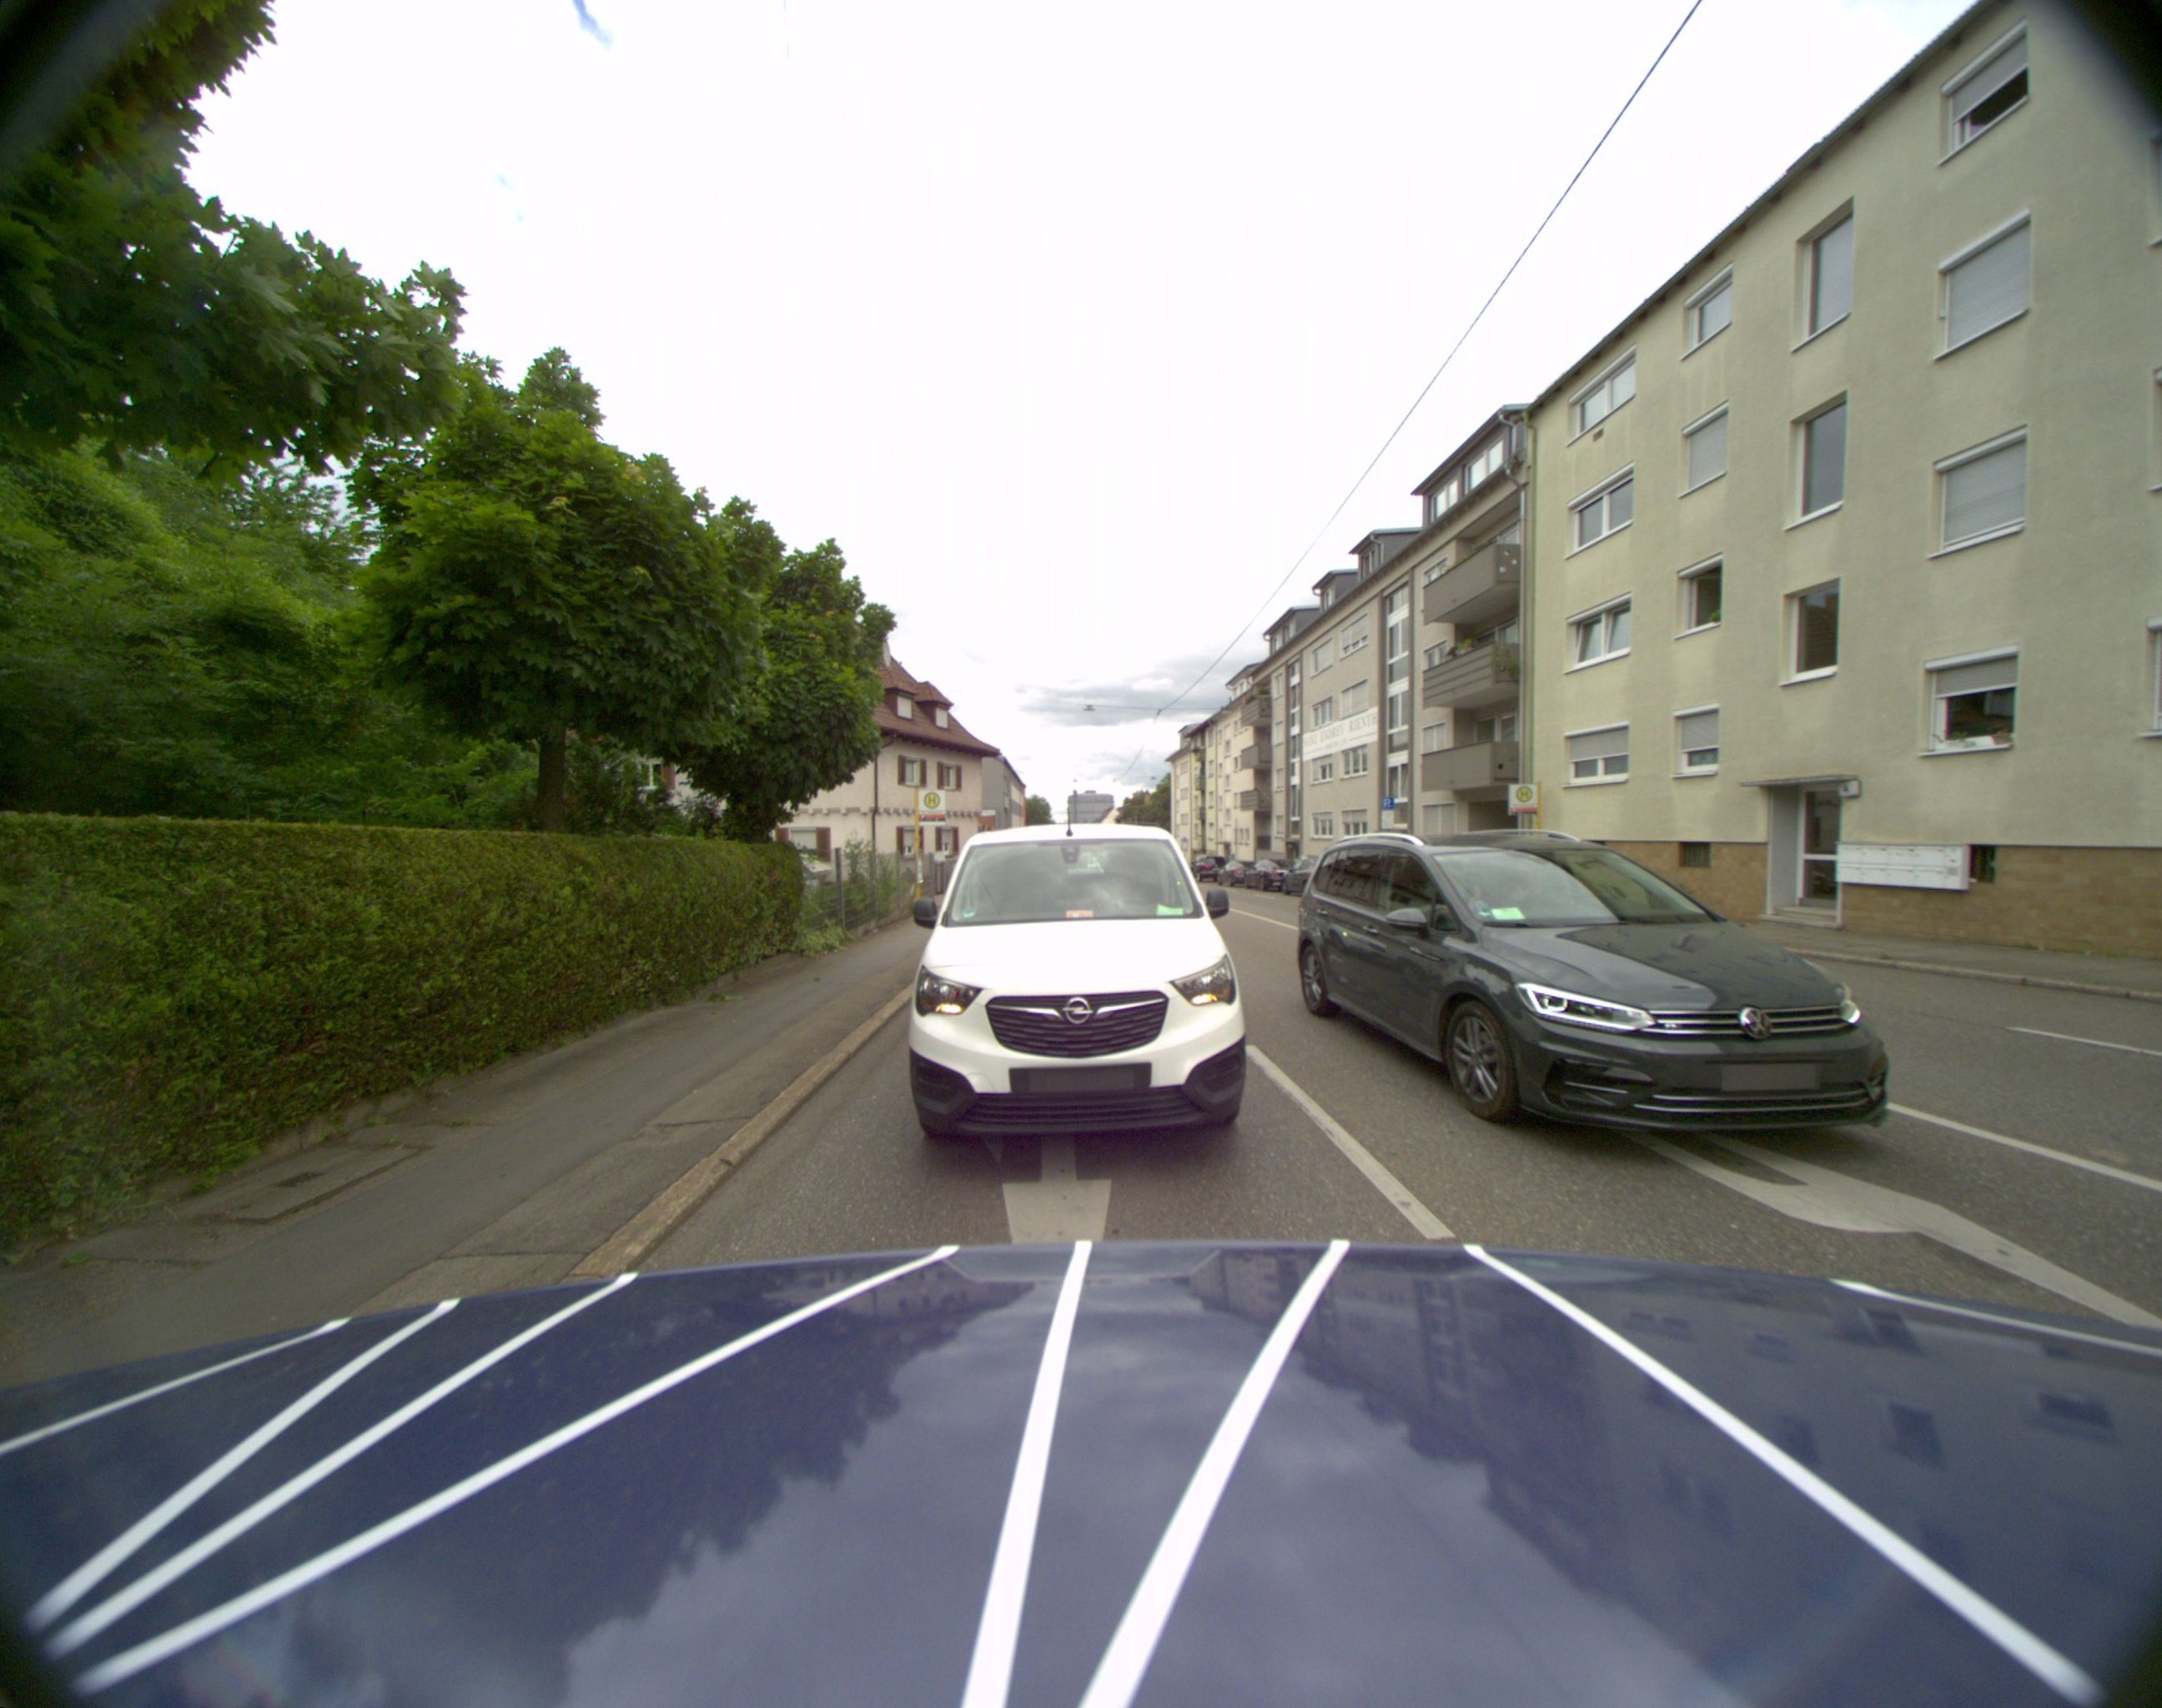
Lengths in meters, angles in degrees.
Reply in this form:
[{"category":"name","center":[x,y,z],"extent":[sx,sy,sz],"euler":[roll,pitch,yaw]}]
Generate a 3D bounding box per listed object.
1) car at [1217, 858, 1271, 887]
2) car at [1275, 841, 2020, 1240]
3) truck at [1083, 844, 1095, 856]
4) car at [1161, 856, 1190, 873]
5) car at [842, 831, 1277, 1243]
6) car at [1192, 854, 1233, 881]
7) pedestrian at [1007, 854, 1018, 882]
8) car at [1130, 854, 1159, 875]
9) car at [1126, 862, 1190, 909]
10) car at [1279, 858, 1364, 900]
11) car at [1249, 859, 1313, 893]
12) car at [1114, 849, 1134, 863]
[{"category":"car","center":[8.417,0.922,39.541],"extent":[1.776,1.395,3.538],"euler":[0,1,-5]},{"category":"car","center":[2.988,0.760,5.444],"extent":[1.863,1.601,4.478],"euler":[-2,1,-2]},{"category":"truck","center":[1.768,-0.831,166.684],"extent":[2.546,2.522,5.494],"euler":[-1,0,0]},{"category":"car","center":[8.153,0.875,65.598],"extent":[1.776,1.395,3.757],"euler":[0,1,-5]},{"category":"car","center":[-0.061,0.792,5.728],"extent":[1.862,1.772,4.711],"euler":[-2,1,1]},{"category":"car","center":[8.363,0.847,48.666],"extent":[1.776,1.591,3.538],"euler":[0,1,-5]},{"category":"pedestrian","center":[-4.500,0.928,49.710],"extent":[0.647,1.830,0.592],"euler":[-1,1,-4]},{"category":"car","center":[4.879,0.800,58.767],"extent":[1.775,1.513,4.082],"euler":[0,1,-2]},{"category":"car","center":[2.419,0.953,24.544],"extent":[1.881,1.347,4.147],"euler":[0,0,4]},{"category":"car","center":[8.925,0.891,28.563],"extent":[1.776,1.403,3.685],"euler":[0,1,-5]},{"category":"car","center":[8.755,0.926,33.512],"extent":[1.669,1.368,3.538],"euler":[0,1,-5]},{"category":"car","center":[4.527,0.200,80.547],"extent":[1.593,1.474,3.597],"euler":[-1,1,-5]}]
